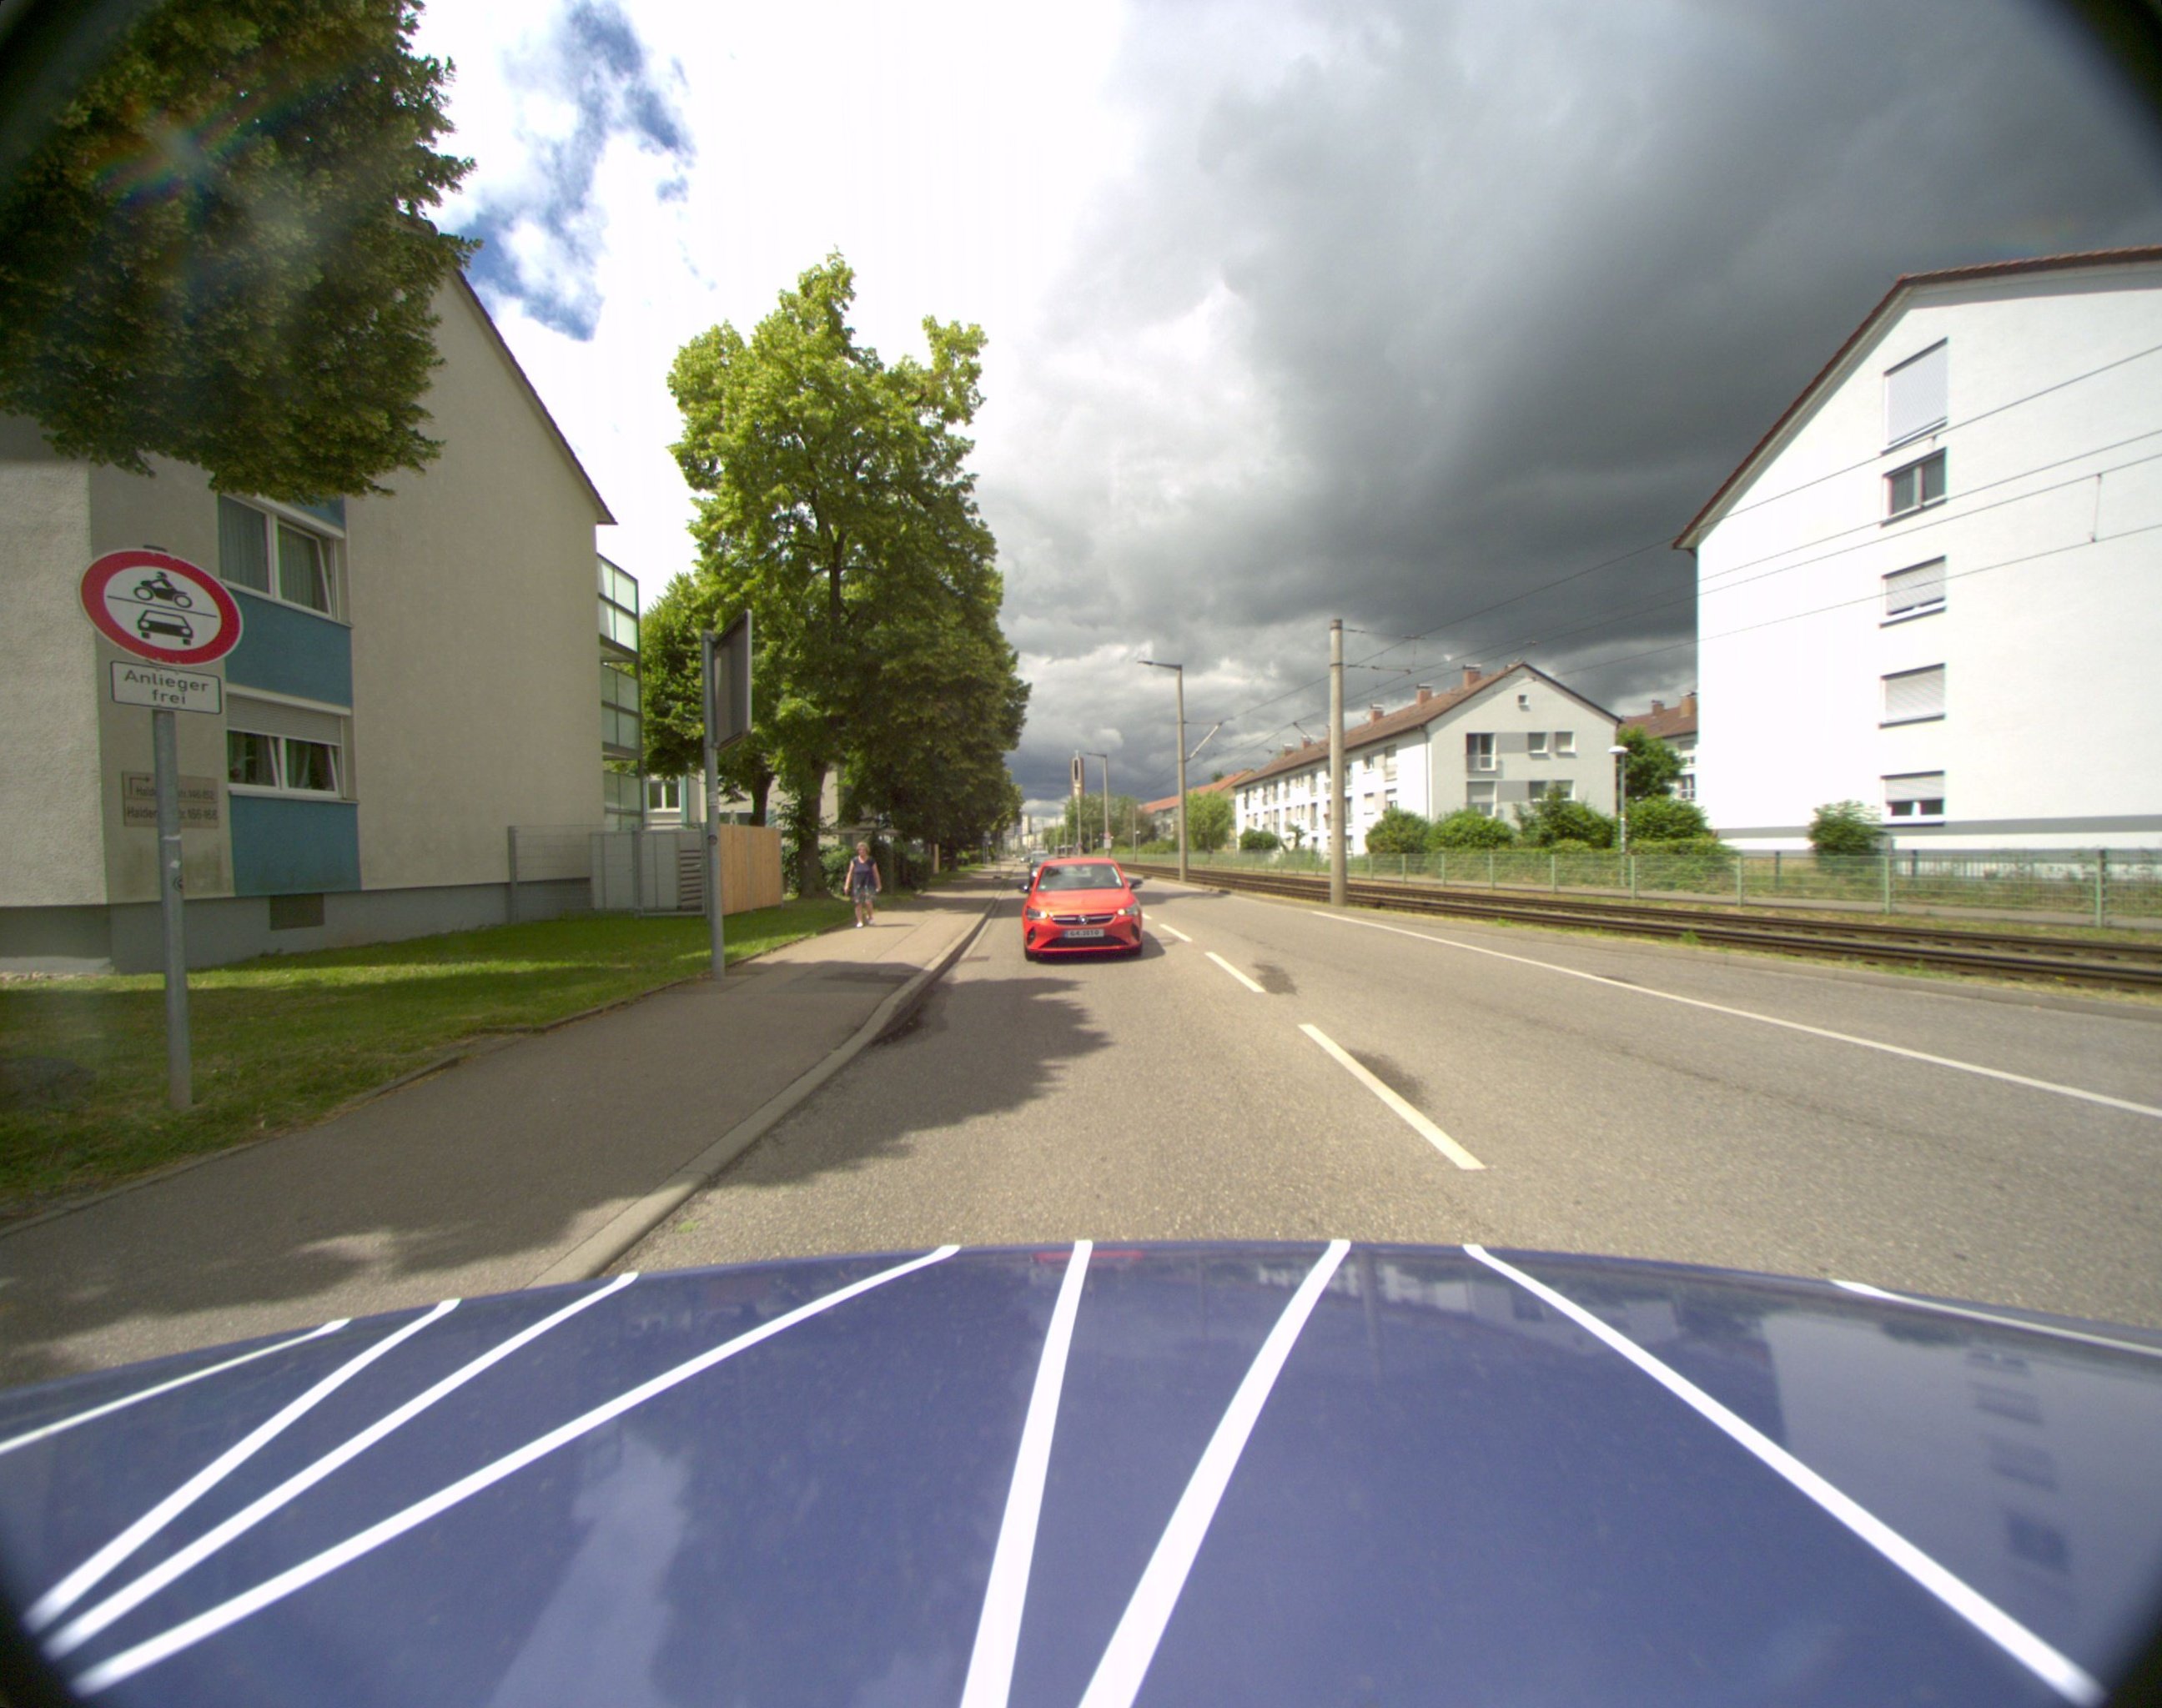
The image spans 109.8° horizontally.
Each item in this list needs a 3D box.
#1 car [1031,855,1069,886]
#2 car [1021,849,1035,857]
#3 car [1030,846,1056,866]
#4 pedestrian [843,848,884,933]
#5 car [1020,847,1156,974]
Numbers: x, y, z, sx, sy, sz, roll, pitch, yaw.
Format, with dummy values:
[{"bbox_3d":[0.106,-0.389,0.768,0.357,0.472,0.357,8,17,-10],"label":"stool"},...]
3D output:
[{"bbox_3d":[-1.518,0.762,37.600,1.764,1.390,3.999,0,1,-2],"label":"car"},{"bbox_3d":[-9.227,-0.151,132.990,1.918,1.309,4.001,0,1,4],"label":"car"},{"bbox_3d":[-3.321,0.150,65.606,2.000,1.598,3.997,0,0,-6],"label":"car"},{"bbox_3d":[-4.344,0.714,15.236,0.684,1.650,0.831,-1,0,-10],"label":"pedestrian"},{"bbox_3d":[-0.023,0.737,12.224,1.766,1.549,3.997,-3,2,-3],"label":"car"}]
